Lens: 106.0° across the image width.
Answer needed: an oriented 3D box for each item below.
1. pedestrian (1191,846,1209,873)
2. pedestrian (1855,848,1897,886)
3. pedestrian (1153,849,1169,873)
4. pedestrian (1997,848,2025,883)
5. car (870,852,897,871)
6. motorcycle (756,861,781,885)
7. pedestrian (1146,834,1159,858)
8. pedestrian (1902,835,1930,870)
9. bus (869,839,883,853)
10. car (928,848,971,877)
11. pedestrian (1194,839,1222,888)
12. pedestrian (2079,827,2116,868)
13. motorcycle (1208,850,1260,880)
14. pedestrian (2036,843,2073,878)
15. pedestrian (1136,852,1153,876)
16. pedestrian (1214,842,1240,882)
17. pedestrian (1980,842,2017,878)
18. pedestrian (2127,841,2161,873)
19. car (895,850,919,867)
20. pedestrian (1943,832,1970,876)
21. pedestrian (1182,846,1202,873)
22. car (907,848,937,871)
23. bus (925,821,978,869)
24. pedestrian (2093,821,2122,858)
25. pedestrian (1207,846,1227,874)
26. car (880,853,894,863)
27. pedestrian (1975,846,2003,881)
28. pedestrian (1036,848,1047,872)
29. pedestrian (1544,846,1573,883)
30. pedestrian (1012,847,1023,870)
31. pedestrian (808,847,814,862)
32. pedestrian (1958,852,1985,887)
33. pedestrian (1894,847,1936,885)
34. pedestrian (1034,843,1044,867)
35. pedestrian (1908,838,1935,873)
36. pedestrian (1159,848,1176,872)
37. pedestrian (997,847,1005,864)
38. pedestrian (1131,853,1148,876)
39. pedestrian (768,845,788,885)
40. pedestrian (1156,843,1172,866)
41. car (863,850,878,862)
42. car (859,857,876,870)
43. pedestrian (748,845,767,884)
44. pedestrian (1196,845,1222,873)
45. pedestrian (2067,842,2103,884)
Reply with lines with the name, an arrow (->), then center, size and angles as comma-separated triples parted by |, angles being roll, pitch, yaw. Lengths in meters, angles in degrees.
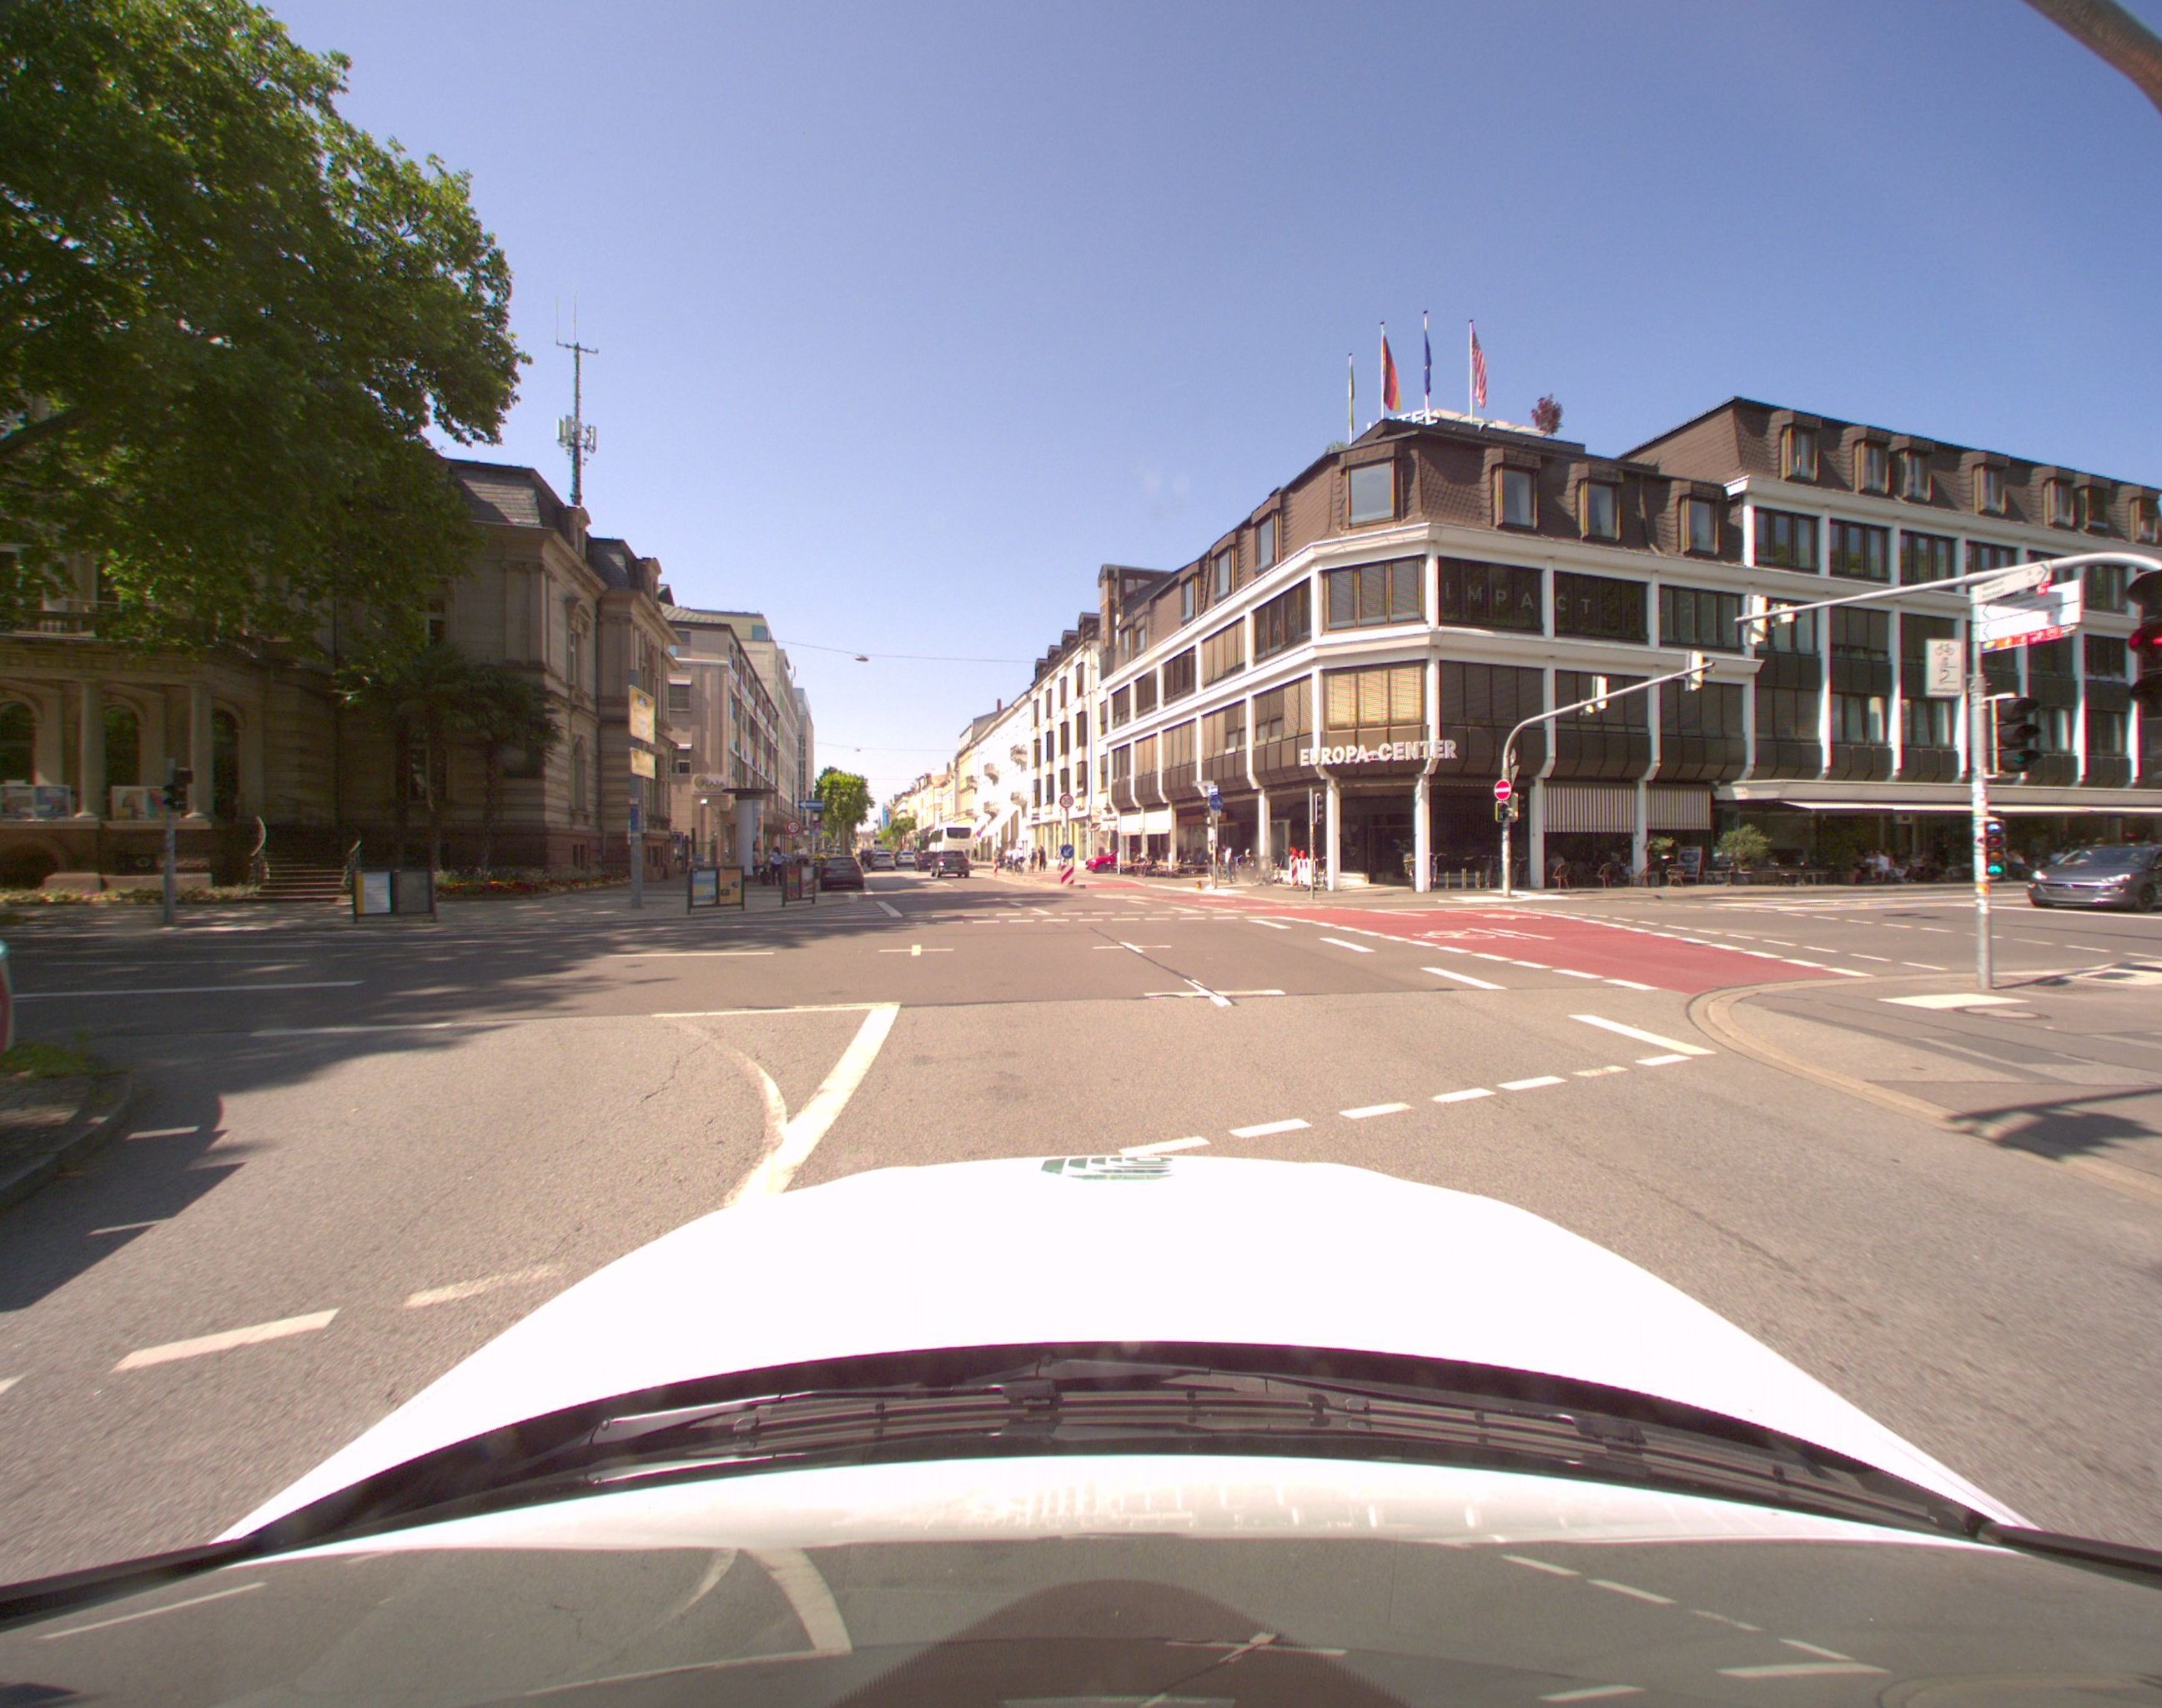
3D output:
pedestrian -> 6.217, 0.310, 42.598 | 0.713, 1.396, 0.692 | -1, -1, -17
pedestrian -> 29.710, 0.460, 30.442 | 0.928, 1.393, 0.754 | -1, 0, -17
pedestrian -> 4.675, 0.395, 47.513 | 0.763, 1.367, 0.475 | -1, 0, -17
pedestrian -> 37.190, 0.450, 32.565 | 0.554, 1.393, 0.541 | -1, 0, -17
car -> -15.841, 0.587, 65.139 | 1.867, 1.441, 3.978 | 0, 0, -17
motorcycle -> -13.512, 0.805, 35.221 | 0.453, 0.998, 2.156 | 1, -1, -6
pedestrian -> 4.185, -0.474, 47.904 | 0.536, 1.367, 0.685 | -1, 0, -15
pedestrian -> 33.446, -0.057, 32.618 | 0.568, 1.393, 0.570 | -1, 0, -17
bus -> -54.591, -2.009, 216.570 | 2.778, 3.605, 8.917 | -1, 1, -19
car -> -7.420, 0.498, 45.714 | 1.837, 1.527, 3.976 | 1, -1, -17
pedestrian -> 4.823, 0.356, 30.916 | 0.832, 1.836, 0.695 | -1, -2, -8
pedestrian -> 43.664, -0.266, 34.983 | 0.797, 1.728, 0.754 | -1, 0, -17
motorcycle -> 6.926, 0.488, 36.780 | 2.221, 1.290, 0.952 | -1, -1, 12
pedestrian -> 39.979, 0.261, 33.454 | 0.716, 1.393, 0.754 | -1, 0, -17
pedestrian -> 3.287, 0.521, 42.234 | 0.711, 1.217, 0.695 | -1, -1, -7
pedestrian -> 6.078, 0.333, 33.910 | 0.832, 1.663, 0.695 | -1, -1, -8
pedestrian -> 36.620, 0.240, 32.494 | 0.716, 1.393, 0.754 | -1, 0, -17
pedestrian -> 47.280, 0.119, 36.196 | 0.716, 1.393, 0.754 | -1, 0, -17
car -> -16.548, 0.441, 77.368 | 1.837, 1.527, 3.977 | -2, -1, -16
pedestrian -> 35.619, 0.002, 33.142 | 0.485, 1.757, 0.583 | 0, 0, -17
pedestrian -> 5.925, 0.308, 43.386 | 0.815, 1.396, 0.692 | -1, -1, -18
car -> -11.562, 0.448, 58.969 | 1.836, 1.527, 3.980 | -2, -1, -15
bus -> -11.536, -0.727, 71.439 | 2.888, 3.742, 12.355 | 1, 0, -17
pedestrian -> 46.943, -0.664, 37.236 | 0.716, 1.646, 0.618 | -1, 0, -17
pedestrian -> 6.792, 0.294, 40.584 | 0.713, 1.396, 0.692 | -1, -1, -17
car -> -29.435, 0.612, 123.517 | 1.867, 1.441, 3.978 | -1, 1, -16
pedestrian -> 37.047, 0.388, 33.229 | 0.568, 1.393, 0.570 | -1, 0, -17
pedestrian -> -2.766, 0.417, 57.174 | 0.621, 1.719, 0.831 | -1, 0, -13
pedestrian -> 17.671, 0.372, 30.128 | 0.818, 1.334, 0.978 | 0, 0, 38
pedestrian -> -4.711, 0.316, 60.431 | 0.621, 1.719, 0.831 | -1, 0, -16
pedestrian -> -30.498, 0.053, 91.851 | 0.568, 1.657, 0.631 | -1, 0, -24
pedestrian -> 36.233, 0.628, 33.137 | 0.568, 1.393, 0.570 | -1, 0, -17
pedestrian -> 31.653, 0.439, 30.909 | 0.928, 1.393, 0.754 | -1, 0, -17
pedestrian -> -3.267, 0.060, 63.756 | 0.694, 1.850, 0.833 | -1, -1, -7
pedestrian -> 33.776, 0.059, 32.736 | 0.568, 1.393, 0.570 | -1, 0, -17
pedestrian -> 5.003, 0.333, 47.134 | 0.879, 1.367, 0.534 | -1, 0, -17
pedestrian -> -7.674, 0.120, 77.810 | 0.646, 1.617, 0.818 | -1, -1, -13
pedestrian -> 3.086, 0.561, 43.062 | 0.711, 1.173, 0.695 | -1, -1, -7
pedestrian -> -12.939, 0.468, 34.824 | 0.695, 1.695, 0.687 | -1, -1, -14
pedestrian -> 4.897, 0.030, 48.148 | 0.746, 1.367, 0.581 | -1, 0, -17
car -> -26.602, 0.273, 102.970 | 1.747, 1.441, 3.978 | -1, 1, -16
car -> -24.826, 1.078, 94.650 | 1.867, 1.441, 3.977 | -1, -1, -16
pedestrian -> -13.949, 0.458, 35.117 | 0.548, 1.665, 0.934 | -1, -1, -7
pedestrian -> 6.514, 0.262, 41.499 | 0.898, 1.351, 1.099 | -1, -1, -17
pedestrian -> 39.563, 0.354, 32.092 | 0.872, 1.612, 0.613 | -1, 0, -17
